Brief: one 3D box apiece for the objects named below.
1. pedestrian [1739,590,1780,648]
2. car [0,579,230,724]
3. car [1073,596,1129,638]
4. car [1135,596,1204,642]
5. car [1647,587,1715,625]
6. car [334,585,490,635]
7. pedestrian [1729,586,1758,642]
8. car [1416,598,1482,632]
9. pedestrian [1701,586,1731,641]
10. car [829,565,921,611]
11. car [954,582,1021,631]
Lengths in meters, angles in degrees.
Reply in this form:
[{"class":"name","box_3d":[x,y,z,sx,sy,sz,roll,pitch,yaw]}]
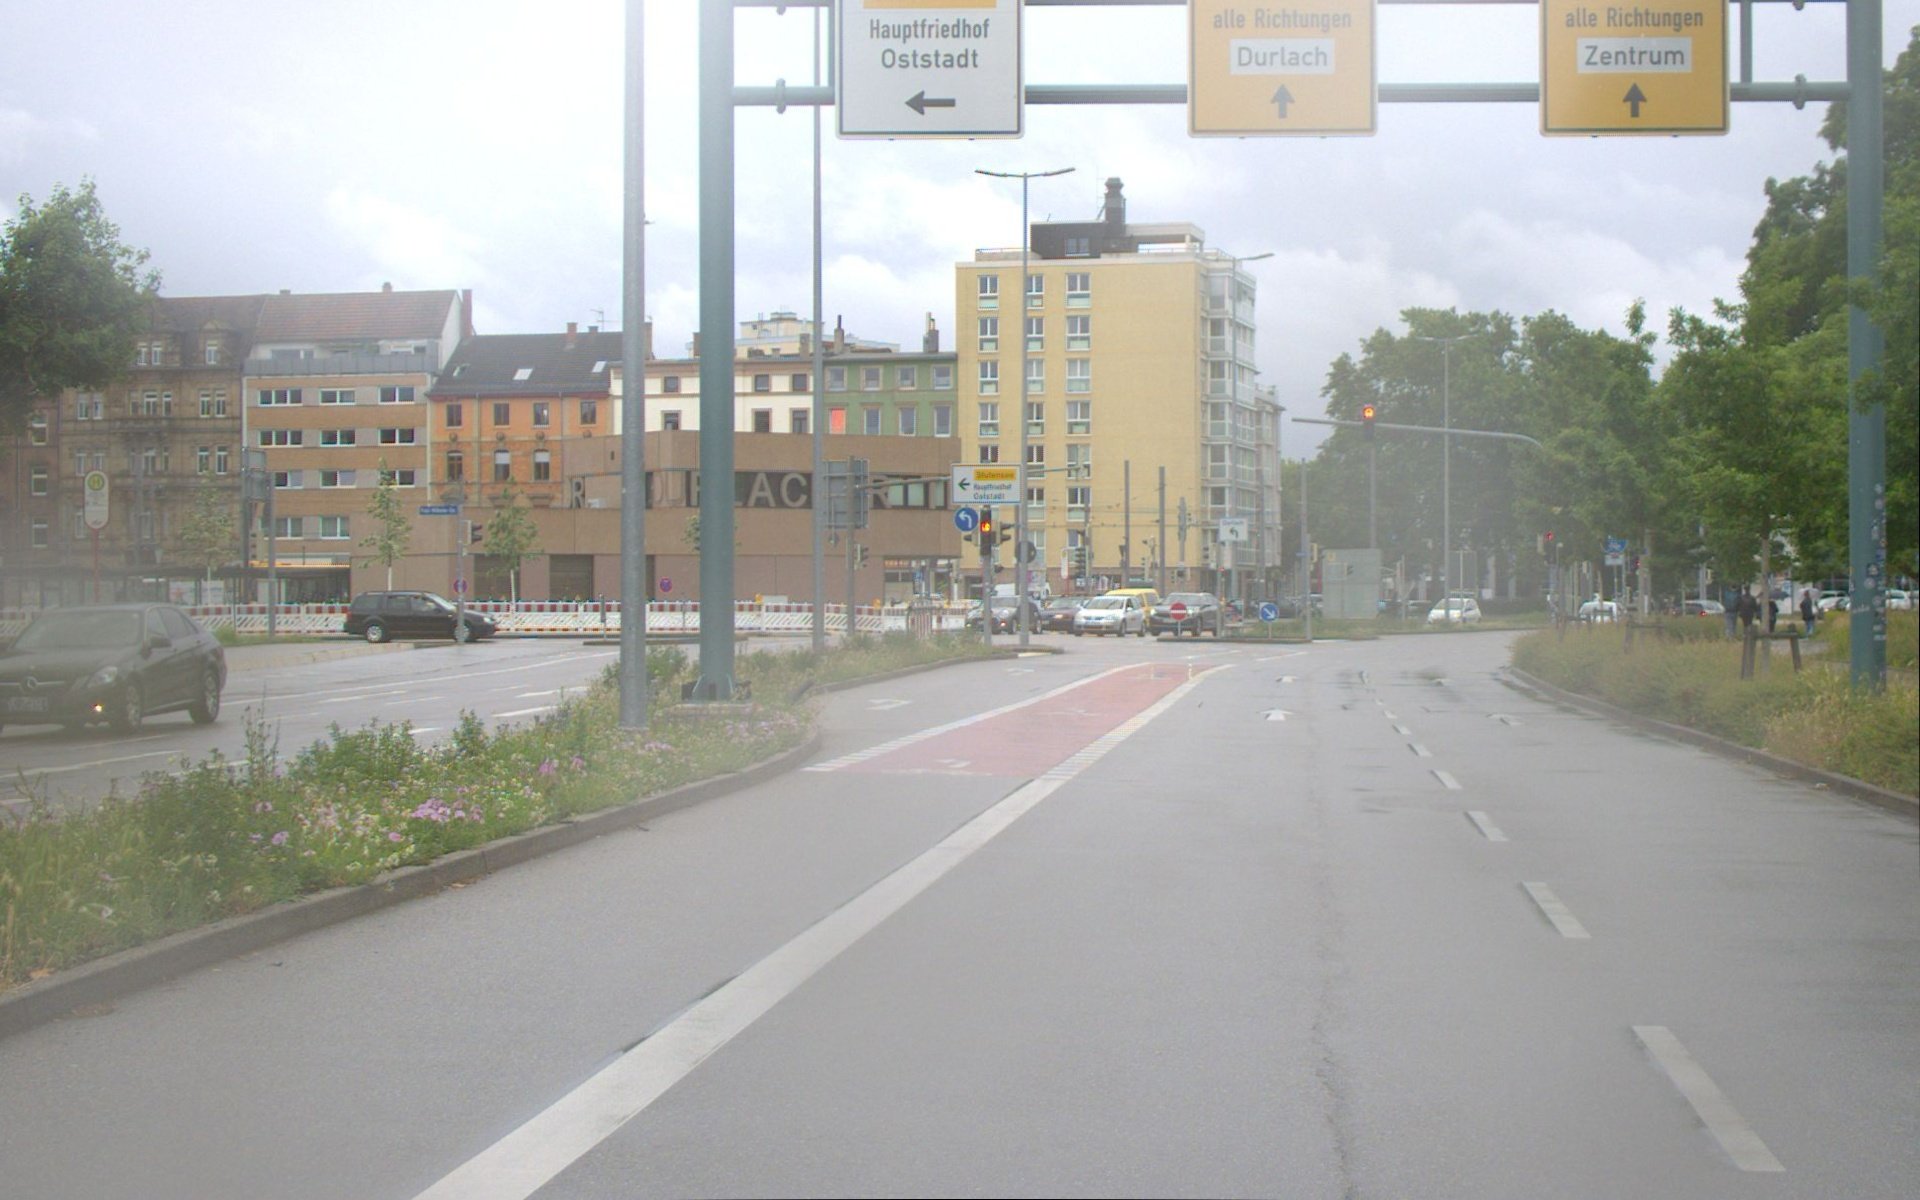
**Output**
[{"class":"pedestrian","box_3d":[22.170,0.518,95.344,1.023,1.582,0.935,0,0,18]},{"class":"car","box_3d":[-10.036,0.548,39.267,1.809,1.535,4.702,-1,0,8]},{"class":"car","box_3d":[4.966,0.580,120.685,1.679,1.399,4.157,-1,0,6]},{"class":"car","box_3d":[7.946,0.711,130.145,1.994,1.630,4.601,-2,0,11]},{"class":"car","box_3d":[31.987,0.252,152.442,1.793,1.637,4.152,0,0,29]},{"class":"car","box_3d":[-15.720,0.290,98.789,4.191,1.397,1.618,0,0,2]},{"class":"pedestrian","box_3d":[22.558,0.400,98.971,0.703,1.582,0.935,0,0,18]},{"class":"car","box_3d":[22.007,0.661,154.637,1.682,1.496,3.862,-1,0,28]},{"class":"pedestrian","box_3d":[21.874,0.399,99.477,0.754,1.582,0.935,0,0,18]},{"class":"car","box_3d":[-5.265,-0.748,213.731,5.353,2.877,2.338,0,0,11]},{"class":"car","box_3d":[1.001,0.216,123.607,1.706,1.700,3.818,0,0,12]}]
